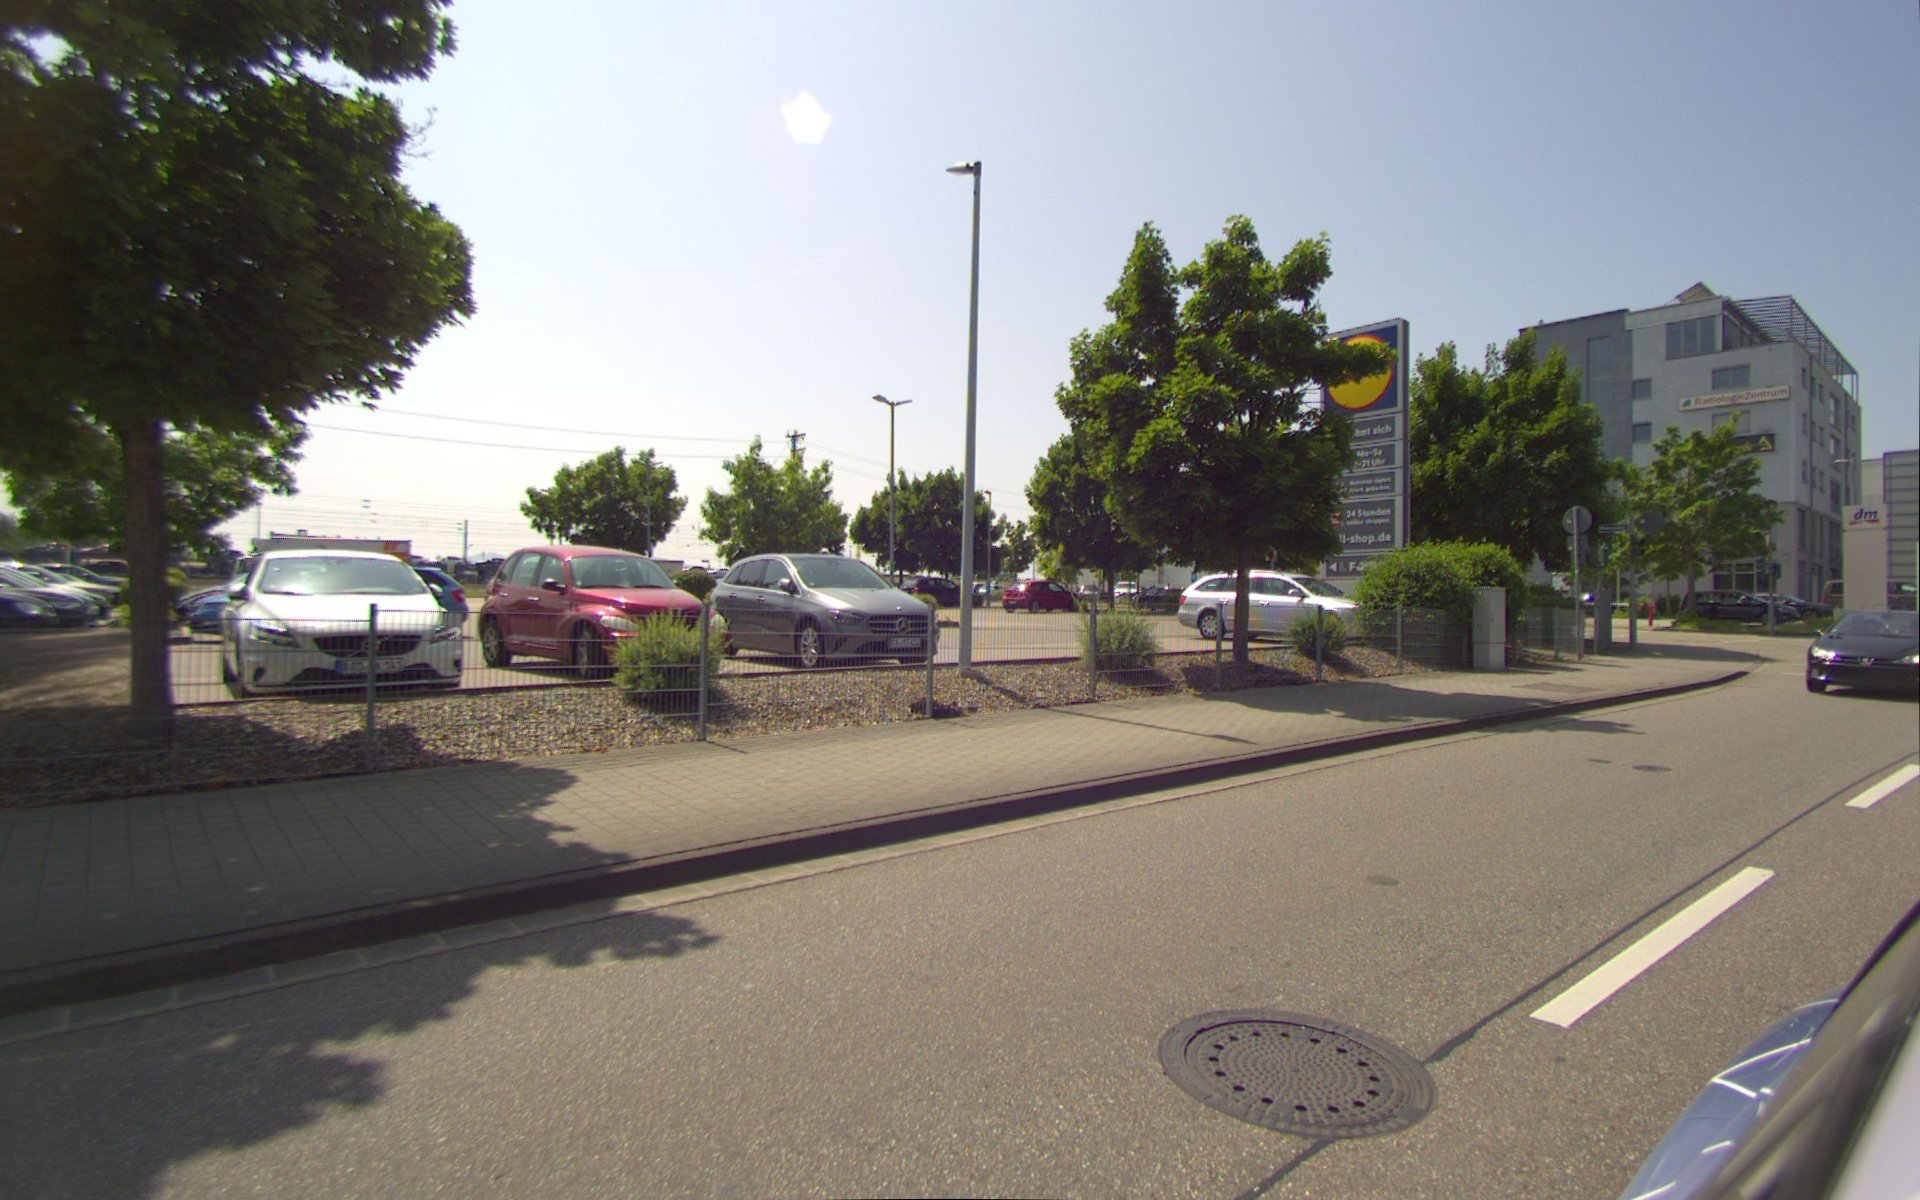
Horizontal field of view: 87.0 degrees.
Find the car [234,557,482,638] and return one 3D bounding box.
[{"bbox_3d":[-11.732,-0.060,19.855,3.931,1.438,1.731,1,1,-42],"label":"car"}]

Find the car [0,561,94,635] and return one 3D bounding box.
[{"bbox_3d":[-19.372,-0.058,20.388,2.907,1.438,1.267,1,1,-42],"label":"car"}]

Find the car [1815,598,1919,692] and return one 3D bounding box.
[{"bbox_3d":[15.620,0.691,16.678,3.435,1.373,1.641,0,1,-38],"label":"car"}]

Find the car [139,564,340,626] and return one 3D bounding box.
[{"bbox_3d":[-17.937,-0.129,25.281,3.931,1.438,1.731,1,1,-42],"label":"car"}]

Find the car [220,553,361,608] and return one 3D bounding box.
[{"bbox_3d":[-22.138,-0.617,33.504,3.785,1.705,1.786,0,0,-37],"label":"car"}]

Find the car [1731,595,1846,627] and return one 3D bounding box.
[{"bbox_3d":[37.964,0.464,46.434,1.725,1.356,3.879,0,1,-40],"label":"car"}]

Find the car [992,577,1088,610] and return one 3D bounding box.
[{"bbox_3d":[3.645,-0.269,45.689,4.067,1.404,1.998,0,-1,-39],"label":"car"}]

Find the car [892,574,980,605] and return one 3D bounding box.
[{"bbox_3d":[-1.206,-0.517,51.637,4.242,1.468,1.710,1,1,-35],"label":"car"}]

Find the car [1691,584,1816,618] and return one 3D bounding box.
[{"bbox_3d":[34.514,0.019,44.095,1.831,1.356,3.995,0,1,-40],"label":"car"}]

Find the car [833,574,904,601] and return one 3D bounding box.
[{"bbox_3d":[-5.121,-0.698,56.817,3.548,1.407,1.789,0,1,-41],"label":"car"}]

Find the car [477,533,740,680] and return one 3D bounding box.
[{"bbox_3d":[-4.455,0.058,12.588,3.590,1.556,1.695,0,0,45],"label":"car"}]

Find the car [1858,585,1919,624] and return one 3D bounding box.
[{"bbox_3d":[45.315,0.174,47.441,1.963,1.721,4.420,-1,-2,-37],"label":"car"}]

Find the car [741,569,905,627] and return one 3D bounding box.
[{"bbox_3d":[-3.573,-0.087,26.789,4.008,1.411,1.739,-1,2,-40],"label":"car"}]

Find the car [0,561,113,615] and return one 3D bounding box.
[{"bbox_3d":[-30.056,-0.387,32.874,3.785,1.705,1.786,0,0,-37],"label":"car"}]

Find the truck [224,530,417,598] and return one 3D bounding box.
[{"bbox_3d":[-39.529,-2.143,62.843,9.848,3.885,2.858,0,1,-38],"label":"truck"}]

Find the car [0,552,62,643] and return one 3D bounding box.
[{"bbox_3d":[-16.623,-0.070,15.750,3.931,1.438,1.731,1,1,-42],"label":"car"}]

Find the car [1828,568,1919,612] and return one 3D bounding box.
[{"bbox_3d":[42.430,-0.439,45.521,2.142,1.821,4.707,1,-3,-35],"label":"car"}]

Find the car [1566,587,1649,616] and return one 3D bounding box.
[{"bbox_3d":[36.581,0.071,57.155,3.916,1.504,2.004,1,1,-21],"label":"car"}]

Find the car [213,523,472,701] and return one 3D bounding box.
[{"bbox_3d":[-6.385,0.089,10.256,1.667,1.439,4.004,1,0,-40],"label":"car"}]

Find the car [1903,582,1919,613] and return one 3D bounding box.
[{"bbox_3d":[51.443,-0.168,51.729,2.059,1.630,4.472,0,-1,-39],"label":"car"}]

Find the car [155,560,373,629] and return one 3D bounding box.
[{"bbox_3d":[-15.853,-0.137,23.142,3.931,1.438,1.731,1,1,-42],"label":"car"}]

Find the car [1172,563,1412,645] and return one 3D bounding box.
[{"bbox_3d":[6.800,0.059,21.152,1.668,1.524,4.584,1,0,-41],"label":"car"}]

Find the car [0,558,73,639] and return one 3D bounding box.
[{"bbox_3d":[-17.807,-0.049,17.875,3.196,1.438,1.267,1,1,-42],"label":"car"}]

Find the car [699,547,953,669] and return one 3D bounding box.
[{"bbox_3d":[-2.016,0.088,14.154,1.666,1.439,4.181,1,0,-38],"label":"car"}]

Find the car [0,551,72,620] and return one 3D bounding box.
[{"bbox_3d":[-24.441,-0.380,25.387,3.234,1.693,1.328,1,1,-42],"label":"car"}]
